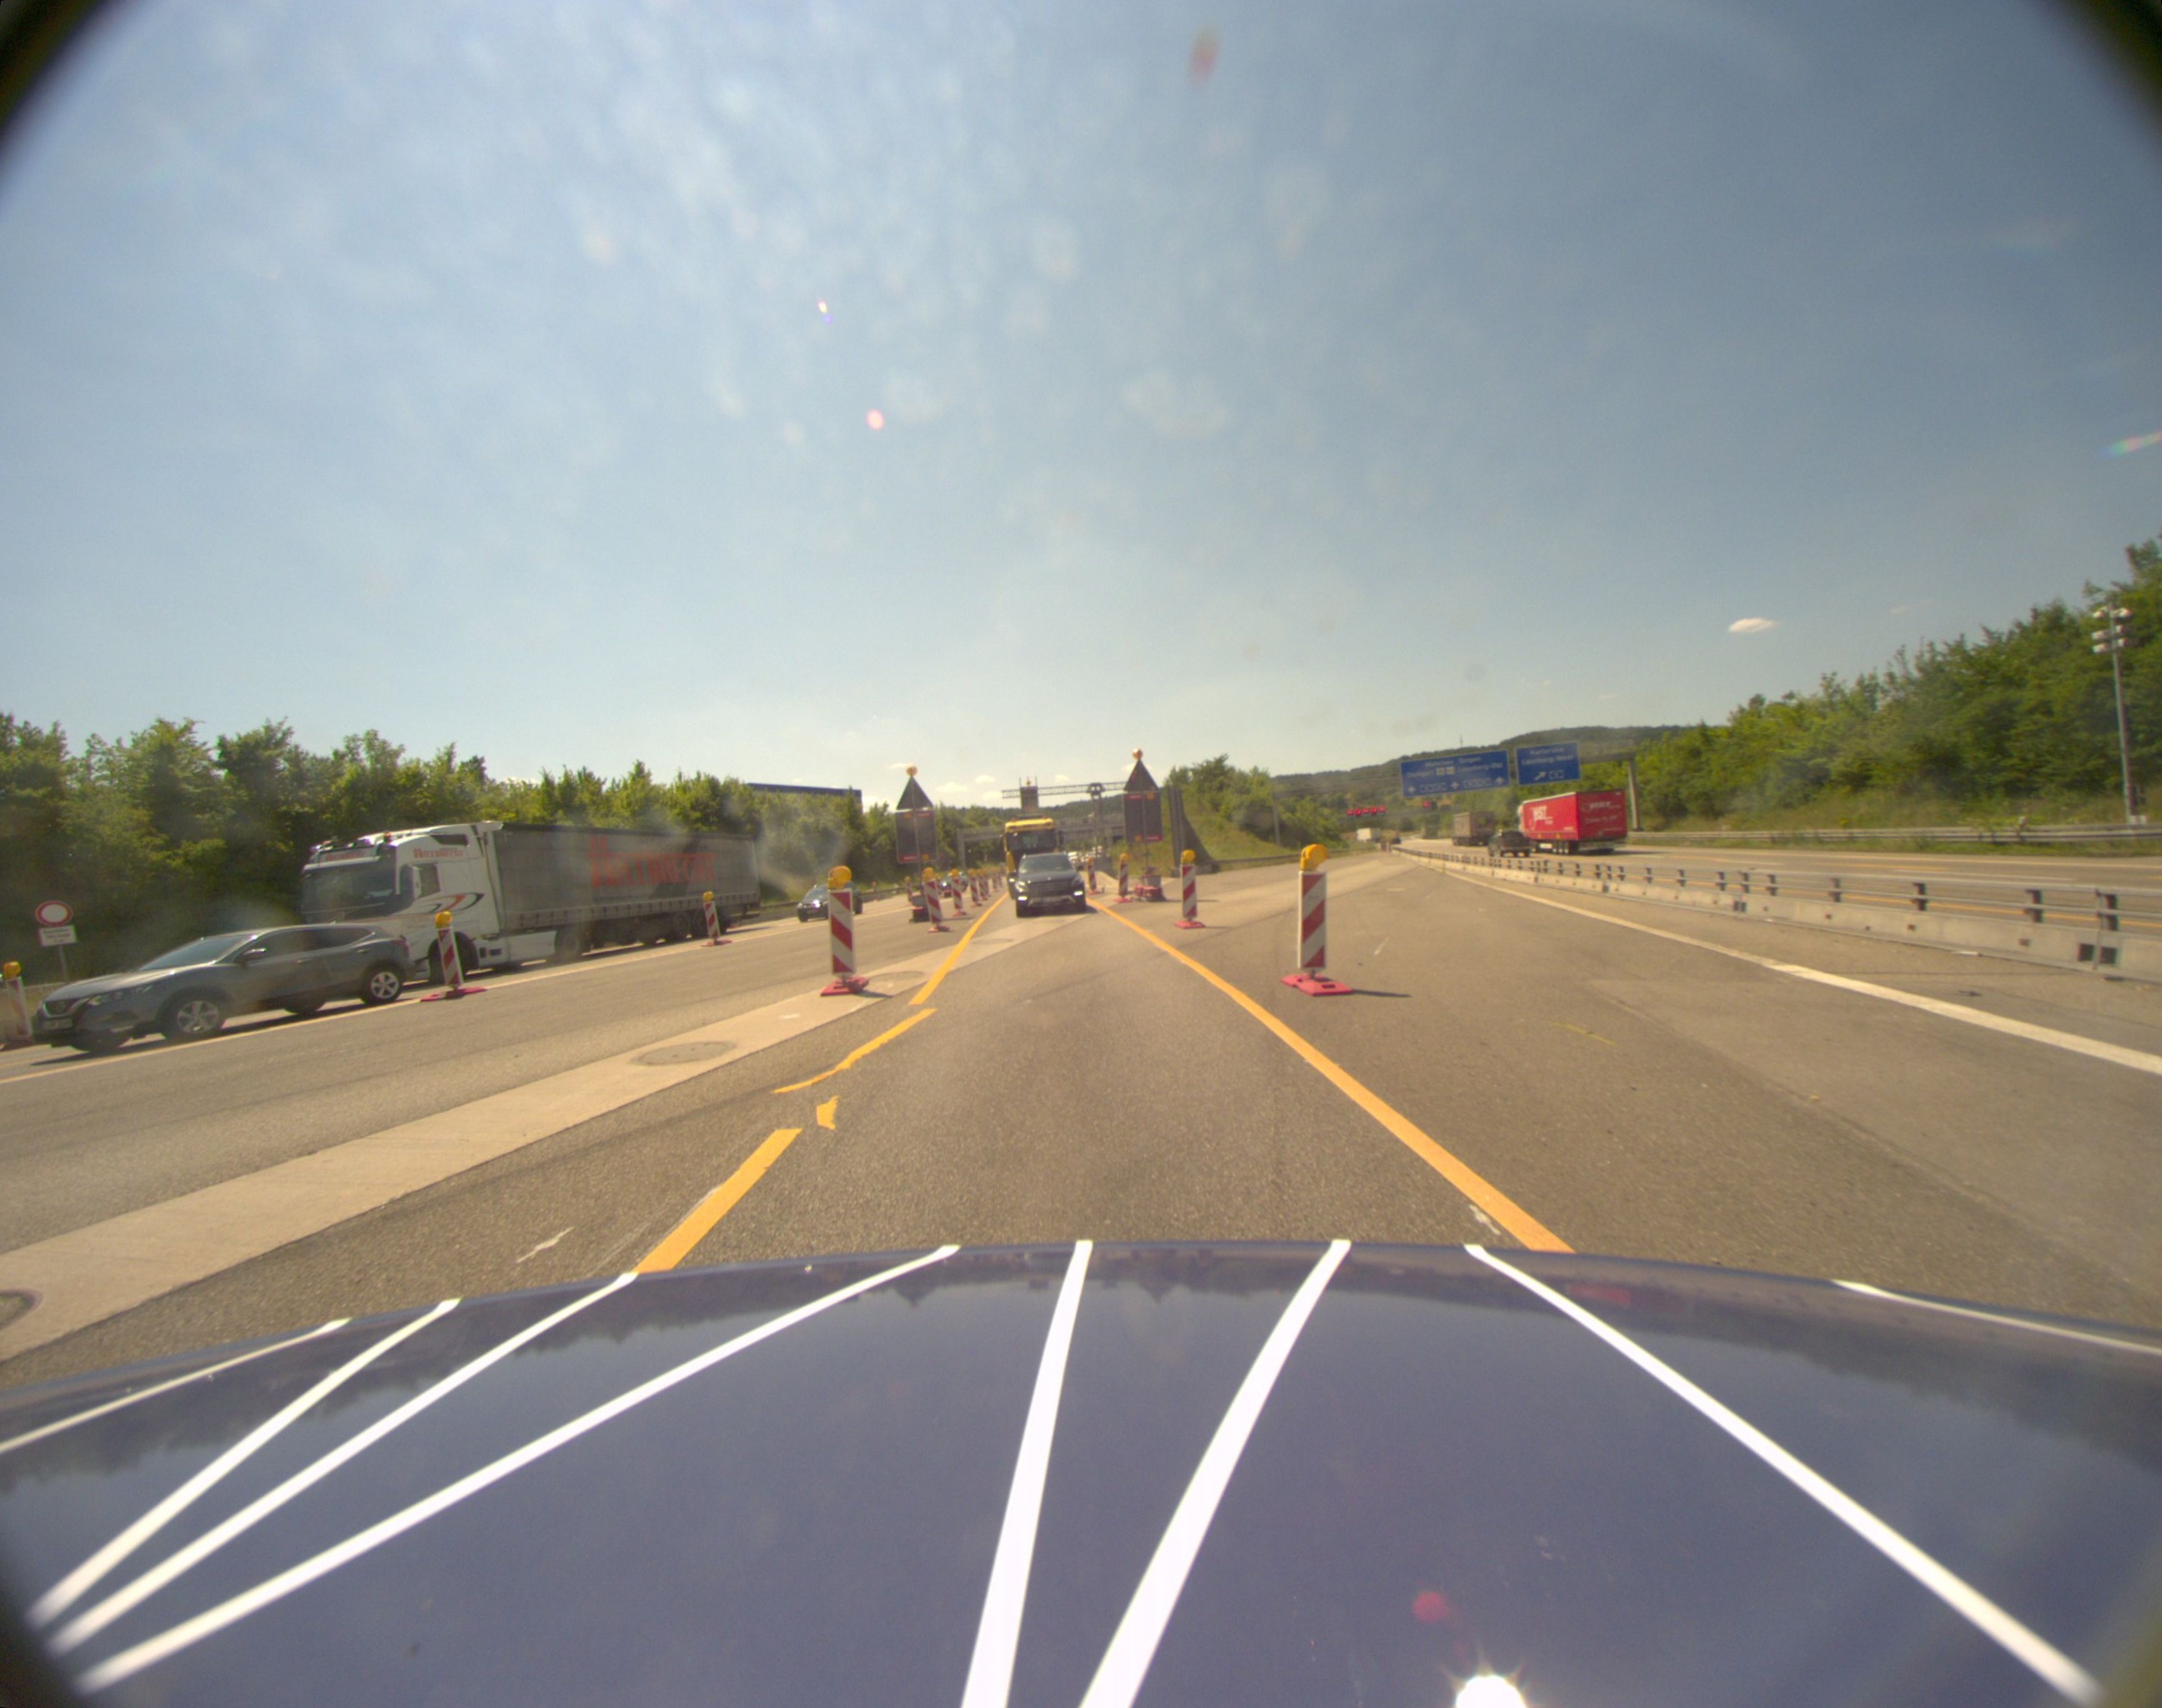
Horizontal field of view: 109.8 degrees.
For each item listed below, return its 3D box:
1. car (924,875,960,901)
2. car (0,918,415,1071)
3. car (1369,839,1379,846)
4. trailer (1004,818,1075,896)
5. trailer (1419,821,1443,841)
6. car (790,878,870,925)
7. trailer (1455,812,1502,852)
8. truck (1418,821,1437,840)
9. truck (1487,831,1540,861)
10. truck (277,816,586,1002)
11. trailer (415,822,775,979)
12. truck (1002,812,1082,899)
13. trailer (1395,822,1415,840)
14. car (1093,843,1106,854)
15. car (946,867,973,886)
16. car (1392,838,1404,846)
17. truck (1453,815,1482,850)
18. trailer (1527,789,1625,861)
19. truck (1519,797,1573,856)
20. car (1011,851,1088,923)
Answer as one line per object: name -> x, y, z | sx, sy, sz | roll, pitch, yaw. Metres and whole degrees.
car -> -11.474, 2.769, 63.104 | 1.819, 1.685, 4.494 | -7, 0, 3
car -> -13.619, 2.079, 12.308 | 1.709, 1.543, 4.033 | -6, 0, 6
car -> 70.538, -2.779, 183.128 | 1.718, 1.614, 4.174 | -5, 0, 16
trailer -> -2.898, 0.365, 47.659 | 3.238, 3.645, 17.417 | -6, -1, -5
trailer -> 83.742, -5.614, 182.192 | 3.551, 4.245, 13.924 | -5, 0, 19
car -> -11.545, 2.137, 35.338 | 1.819, 1.685, 4.494 | -7, 0, 4
trailer -> 47.629, -2.563, 91.418 | 2.439, 4.271, 13.825 | -4, 0, 18
truck -> 86.043, -5.840, 188.730 | 3.551, 4.245, 5.785 | -5, 0, 19
truck -> 29.447, -0.521, 51.866 | 1.996, 1.862, 4.767 | -4, -1, 16
truck -> -16.434, 1.251, 19.868 | 2.533, 3.927, 5.601 | -7, 0, 6
trailer -> -15.771, 1.247, 27.198 | 2.546, 3.929, 13.873 | -7, 0, 5
truck -> -2.053, 0.139, 37.949 | 3.231, 3.639, 7.081 | -6, -1, -5
trailer -> 86.989, -6.230, 204.268 | 3.551, 4.245, 13.924 | -5, 0, 19
car -> 4.040, -1.167, 162.071 | 2.441, 2.080, 5.308 | -7, 1, 3
car -> -12.901, 2.355, 80.827 | 1.819, 1.685, 4.494 | -6, 0, 3
car -> 64.471, -2.367, 154.507 | 1.718, 1.482, 3.692 | -4, 0, 15
truck -> 49.771, -2.718, 97.974 | 2.434, 4.245, 4.844 | -4, 0, 18
trailer -> 32.913, -1.866, 51.174 | 2.340, 4.078, 13.278 | -4, 0, 20
truck -> 35.358, -2.058, 57.961 | 2.337, 4.084, 5.023 | -4, 0, 20
car -> -0.872, 0.852, 21.990 | 1.820, 1.685, 4.492 | -6, 0, -1
